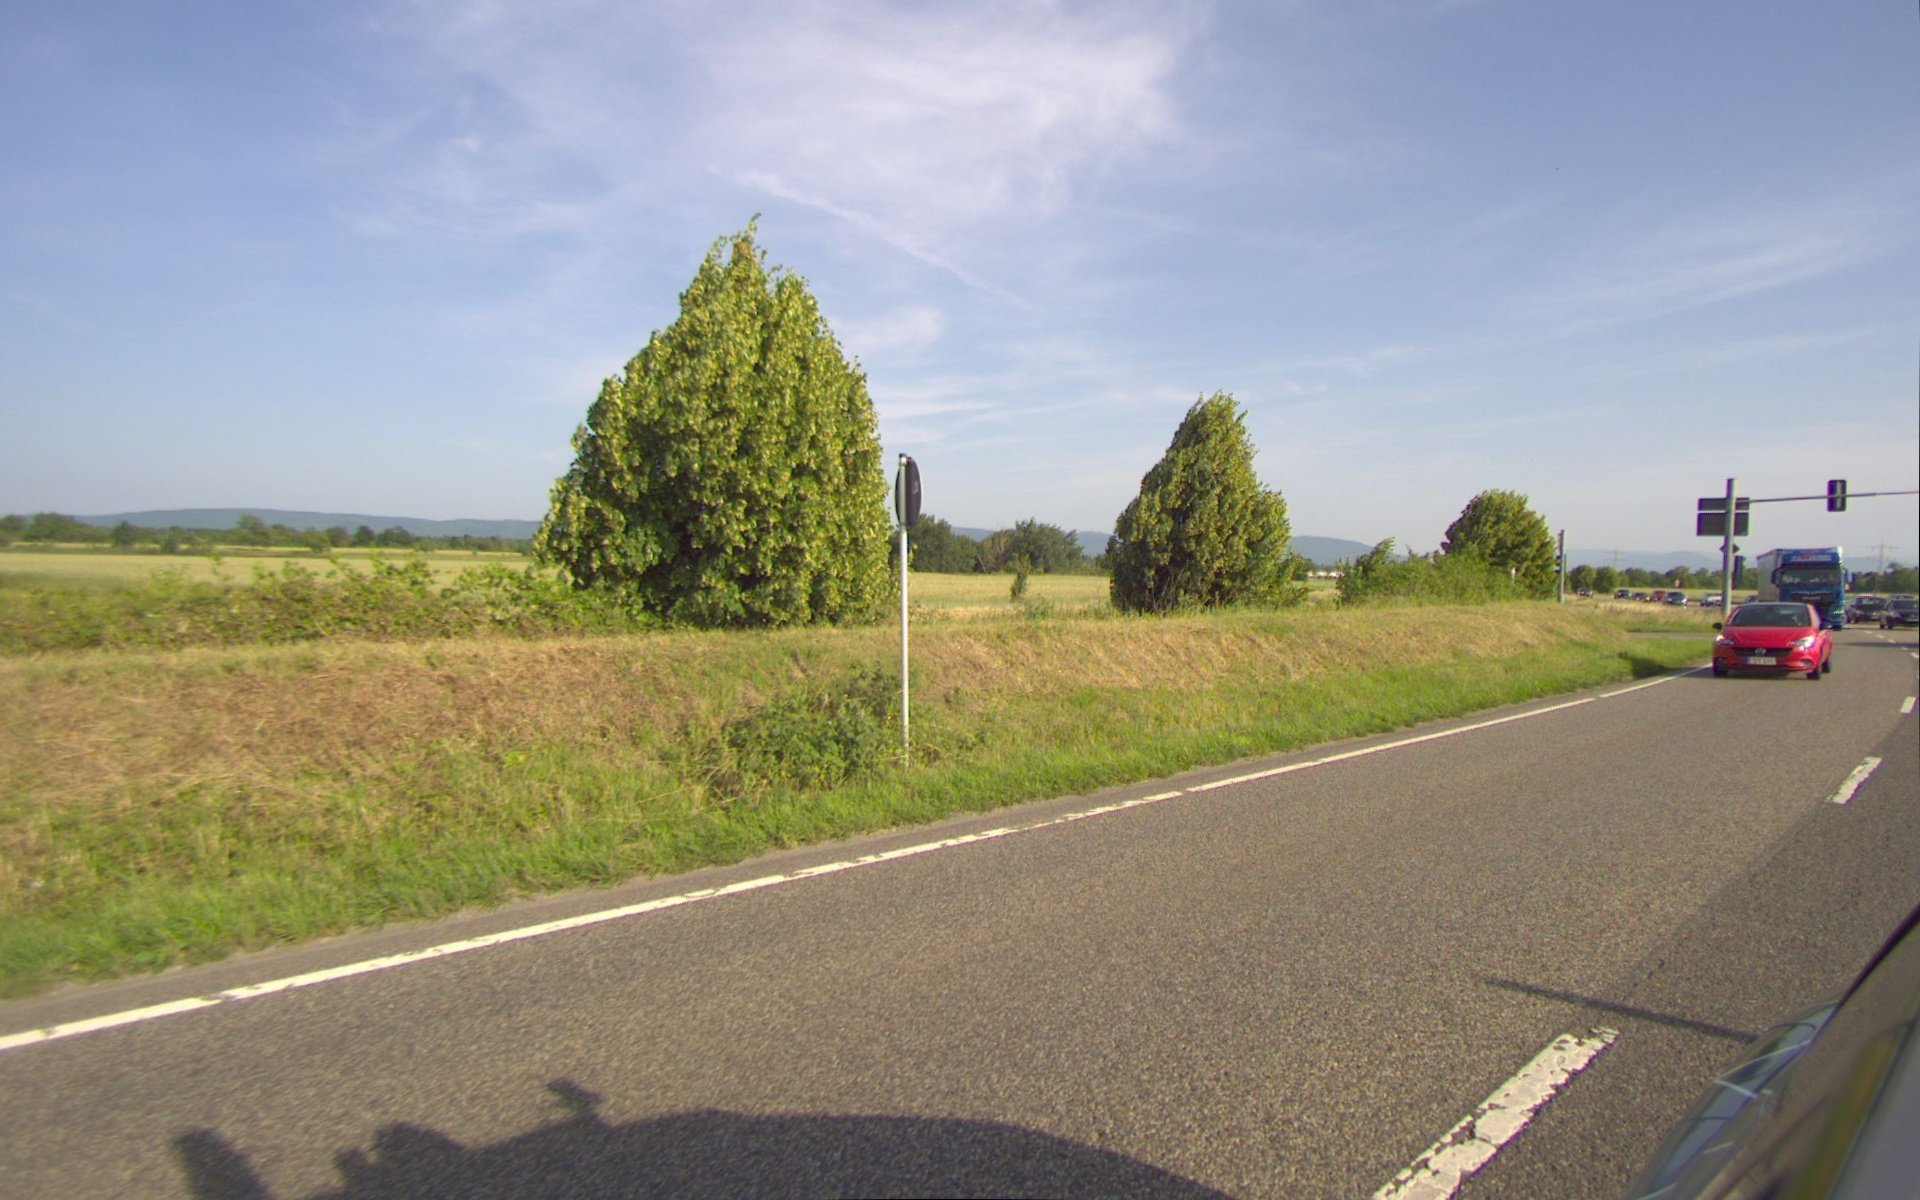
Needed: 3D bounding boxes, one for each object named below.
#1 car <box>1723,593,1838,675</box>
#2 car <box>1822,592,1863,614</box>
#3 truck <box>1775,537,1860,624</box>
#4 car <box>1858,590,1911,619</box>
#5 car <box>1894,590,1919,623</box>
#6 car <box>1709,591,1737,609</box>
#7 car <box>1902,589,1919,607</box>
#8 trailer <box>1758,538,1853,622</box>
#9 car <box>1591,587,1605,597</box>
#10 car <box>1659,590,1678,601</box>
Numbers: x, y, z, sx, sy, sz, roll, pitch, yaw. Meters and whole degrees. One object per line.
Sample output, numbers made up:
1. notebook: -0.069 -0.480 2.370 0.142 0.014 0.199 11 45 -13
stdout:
1. car: 16.801 0.616 20.665 1.660 1.482 3.895 0 1 42
2. car: 62.494 0.185 71.710 1.684 1.432 3.950 1 1 35
3. truck: 41.866 -0.933 49.565 2.636 3.969 5.875 -1 0 36
4. car: 53.409 0.236 58.540 1.821 1.549 3.947 1 1 37
5. car: 46.255 0.279 48.659 1.745 1.549 3.942 1 1 40
6. car: 82.847 -0.059 109.929 1.984 1.905 3.957 1 1 31
7. car: 81.956 -0.183 86.435 1.681 1.542 4.040 0 1 35
8. trailer: 45.493 -1.042 54.826 2.635 4.029 13.757 -1 0 35
9. car: 117.217 -1.473 185.972 1.534 1.718 3.601 1 1 24
10. car: 97.745 -0.606 139.696 1.503 1.412 3.488 1 1 24
